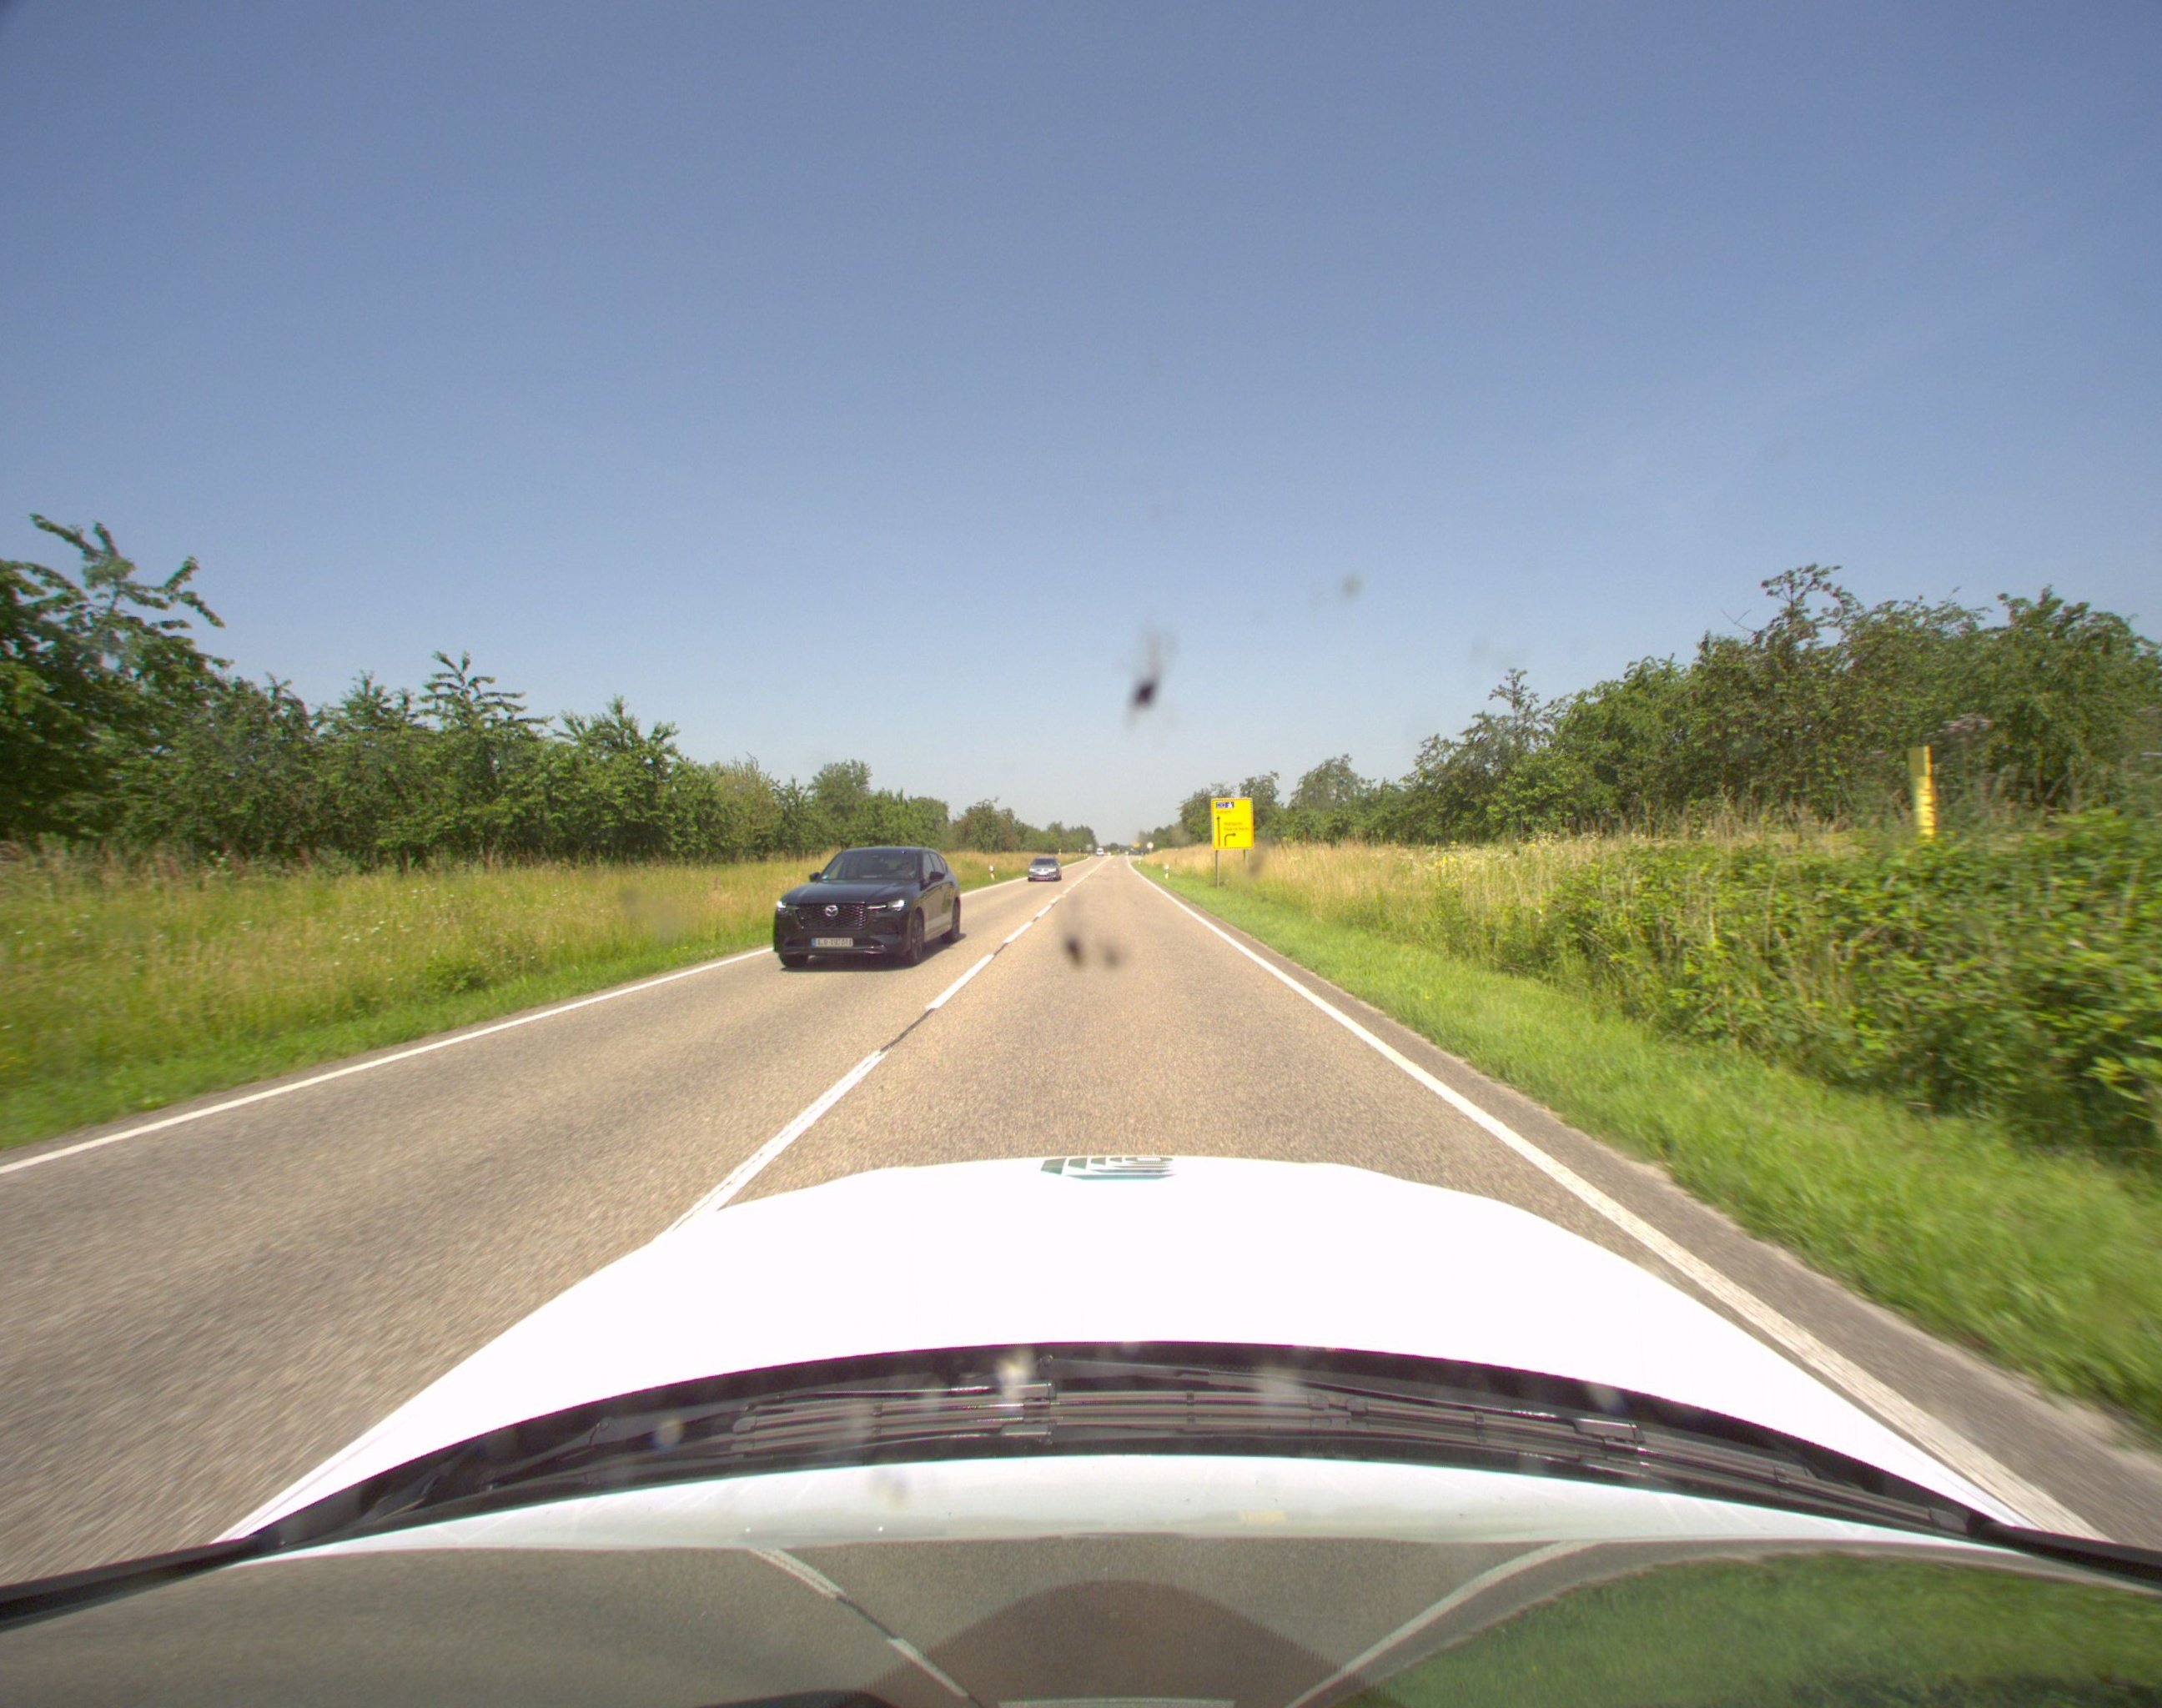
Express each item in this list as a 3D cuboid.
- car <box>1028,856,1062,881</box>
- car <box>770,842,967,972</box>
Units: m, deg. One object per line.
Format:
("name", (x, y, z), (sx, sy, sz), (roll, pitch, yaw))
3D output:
("car", (-2.068, 0.821, 48.035), (1.684, 1.408, 4.895), (-1, 0, 1))
("car", (-3.092, 0.695, 12.865), (1.829, 1.678, 4.412), (-1, 0, 1))
